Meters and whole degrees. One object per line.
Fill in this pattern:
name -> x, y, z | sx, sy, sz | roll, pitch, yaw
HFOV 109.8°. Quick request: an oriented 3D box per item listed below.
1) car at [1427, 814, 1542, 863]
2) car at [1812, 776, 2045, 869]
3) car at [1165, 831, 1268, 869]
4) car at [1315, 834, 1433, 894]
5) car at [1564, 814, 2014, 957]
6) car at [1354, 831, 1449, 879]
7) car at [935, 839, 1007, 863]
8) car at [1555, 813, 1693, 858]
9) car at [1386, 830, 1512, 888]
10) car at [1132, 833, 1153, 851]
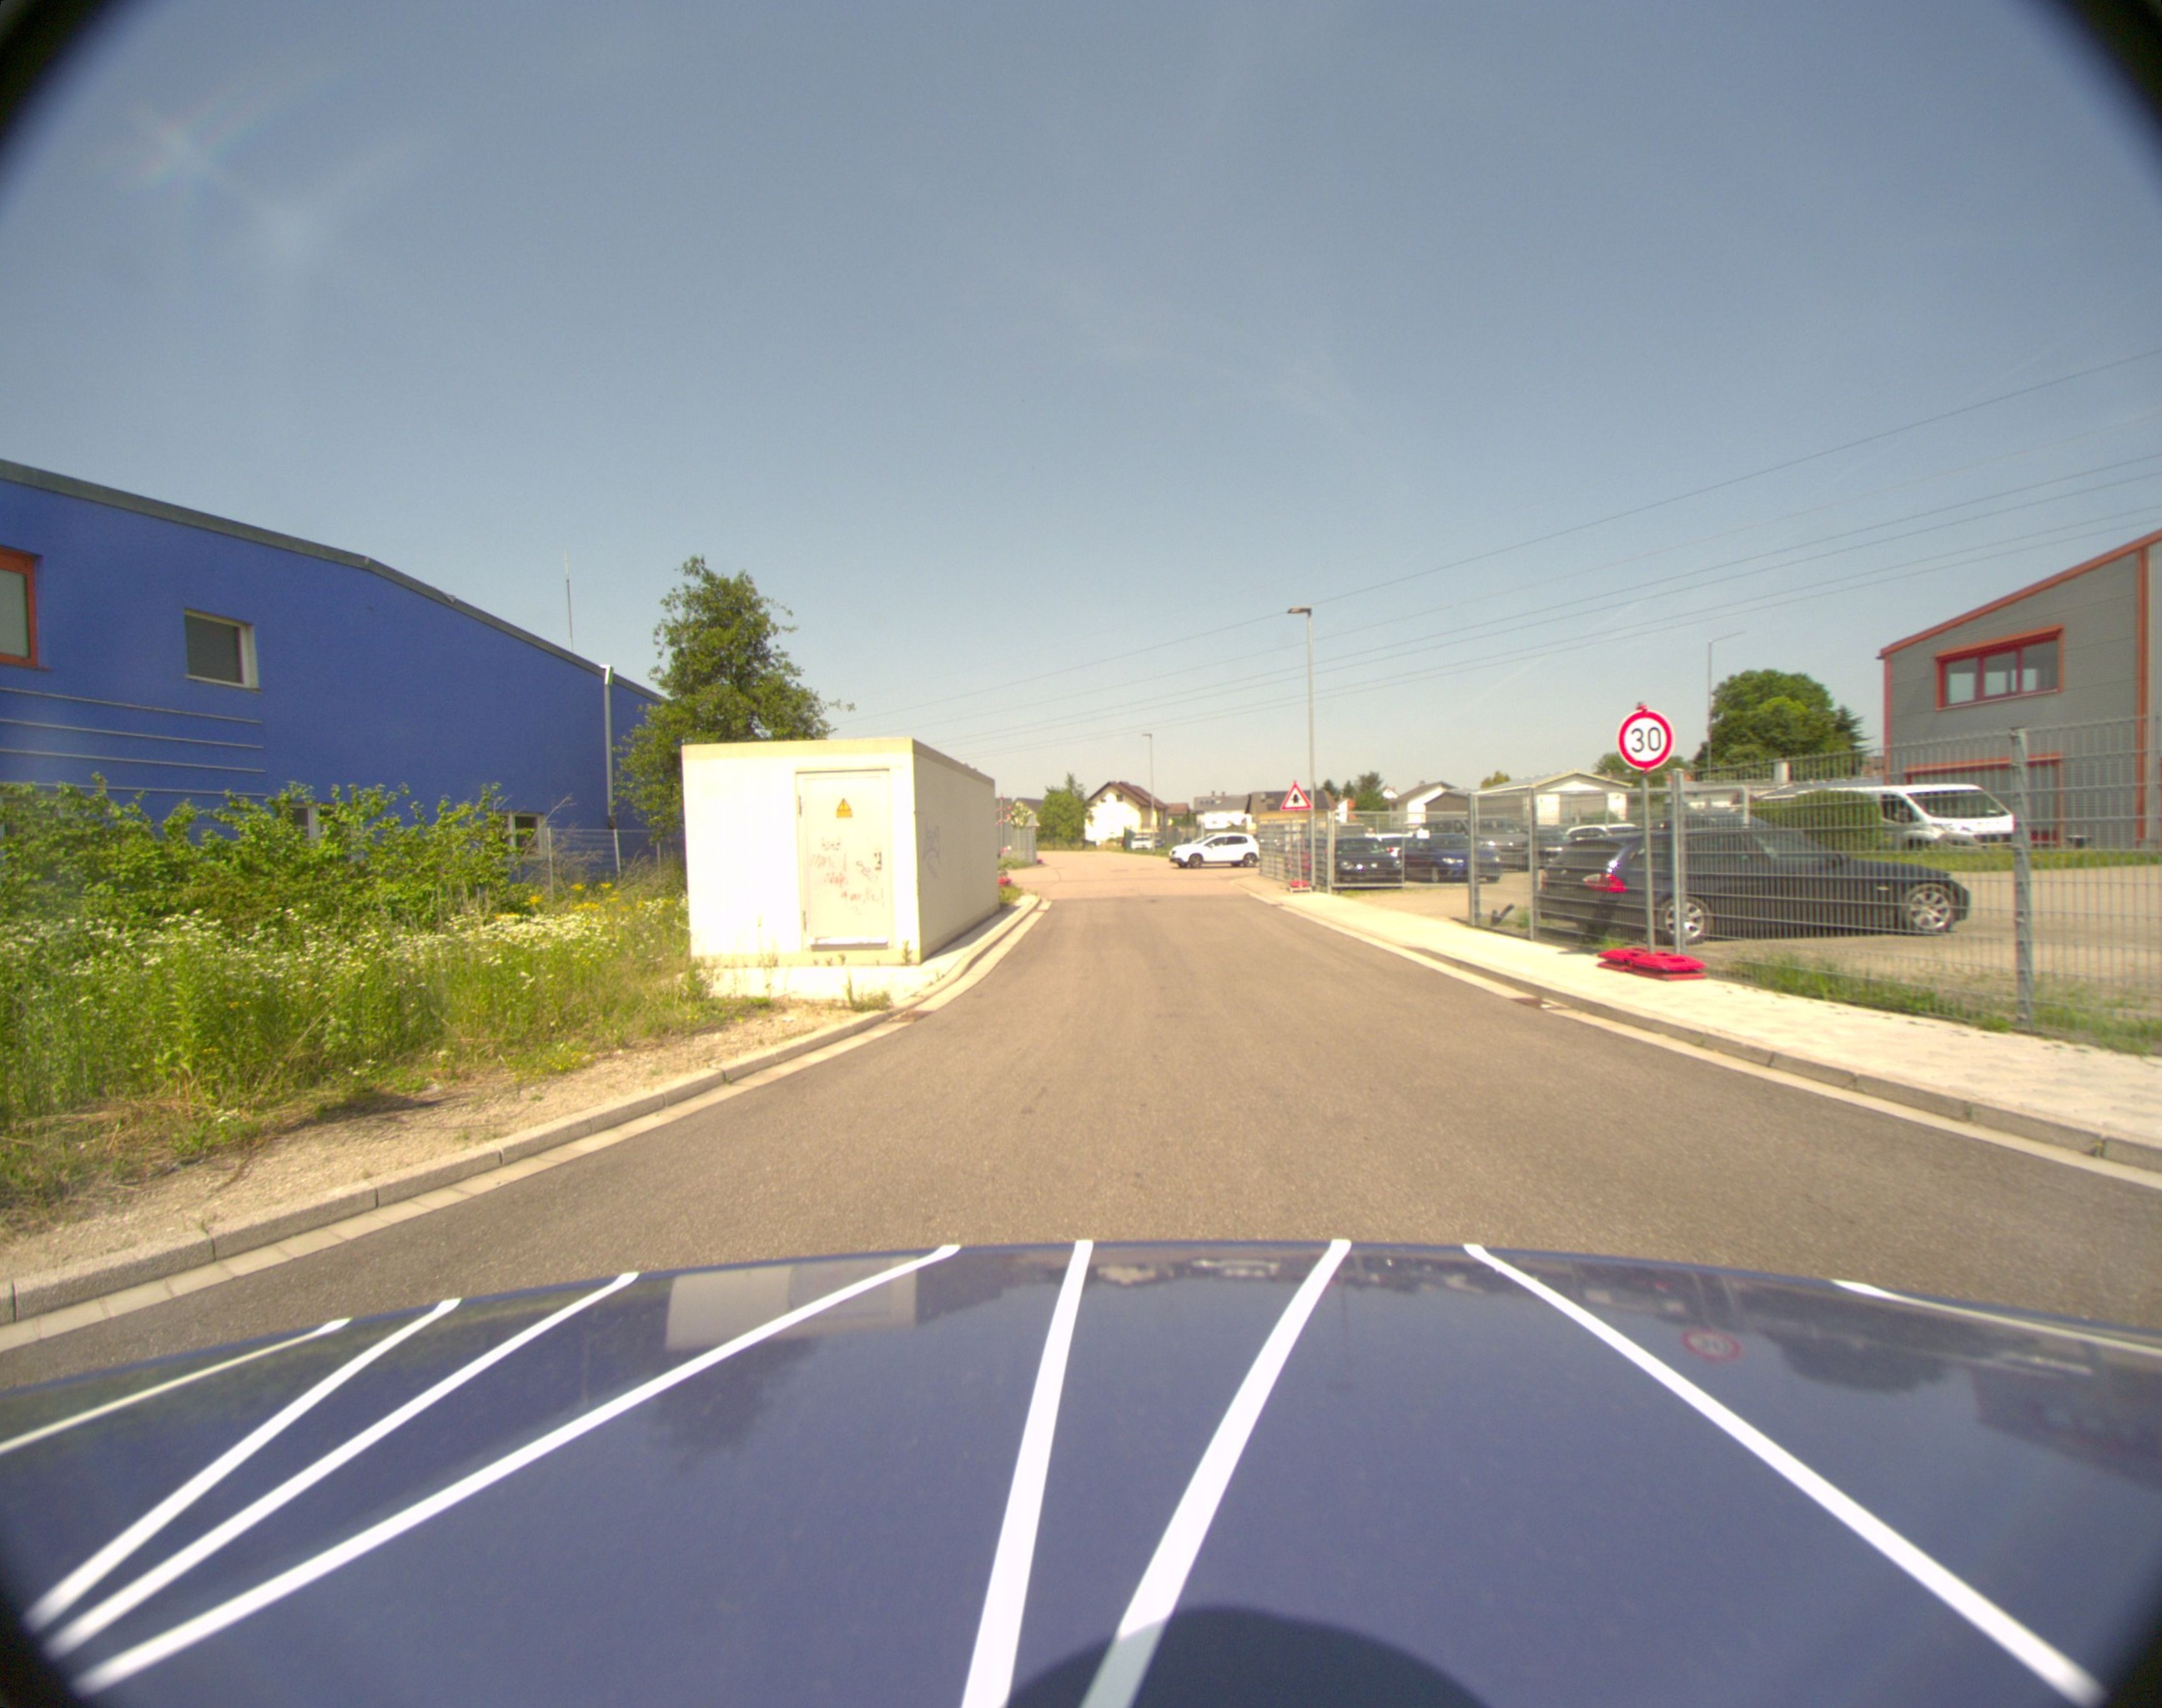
car -> 13.960, -0.533, 26.572 | 1.774, 1.494, 3.999 | -3, 1, -1
car -> 22.687, -0.805, 20.650 | 1.997, 2.183, 4.325 | -2, 1, 11
car -> 6.036, -0.197, 34.099 | 4.162, 1.494, 1.773 | -3, 1, -9
car -> 8.346, 0.231, 22.025 | 1.774, 1.494, 3.999 | -3, 1, -1
car -> 8.761, 0.362, 9.711 | 3.996, 1.494, 1.775 | -3, 1, 3
car -> 11.226, 0.017, 26.919 | 1.773, 1.494, 4.000 | -3, 1, 2
car -> -7.282, -0.204, 50.271 | 4.577, 1.419, 1.998 | -2, 1, -9
car -> 18.867, -0.627, 26.670 | 1.897, 1.412, 4.199 | -2, 1, 1
car -> 10.707, 0.112, 22.428 | 1.774, 1.494, 3.810 | -3, 1, -1
car -> 5.429, -1.067, 67.483 | 1.773, 1.494, 4.162 | -2, 1, 4
